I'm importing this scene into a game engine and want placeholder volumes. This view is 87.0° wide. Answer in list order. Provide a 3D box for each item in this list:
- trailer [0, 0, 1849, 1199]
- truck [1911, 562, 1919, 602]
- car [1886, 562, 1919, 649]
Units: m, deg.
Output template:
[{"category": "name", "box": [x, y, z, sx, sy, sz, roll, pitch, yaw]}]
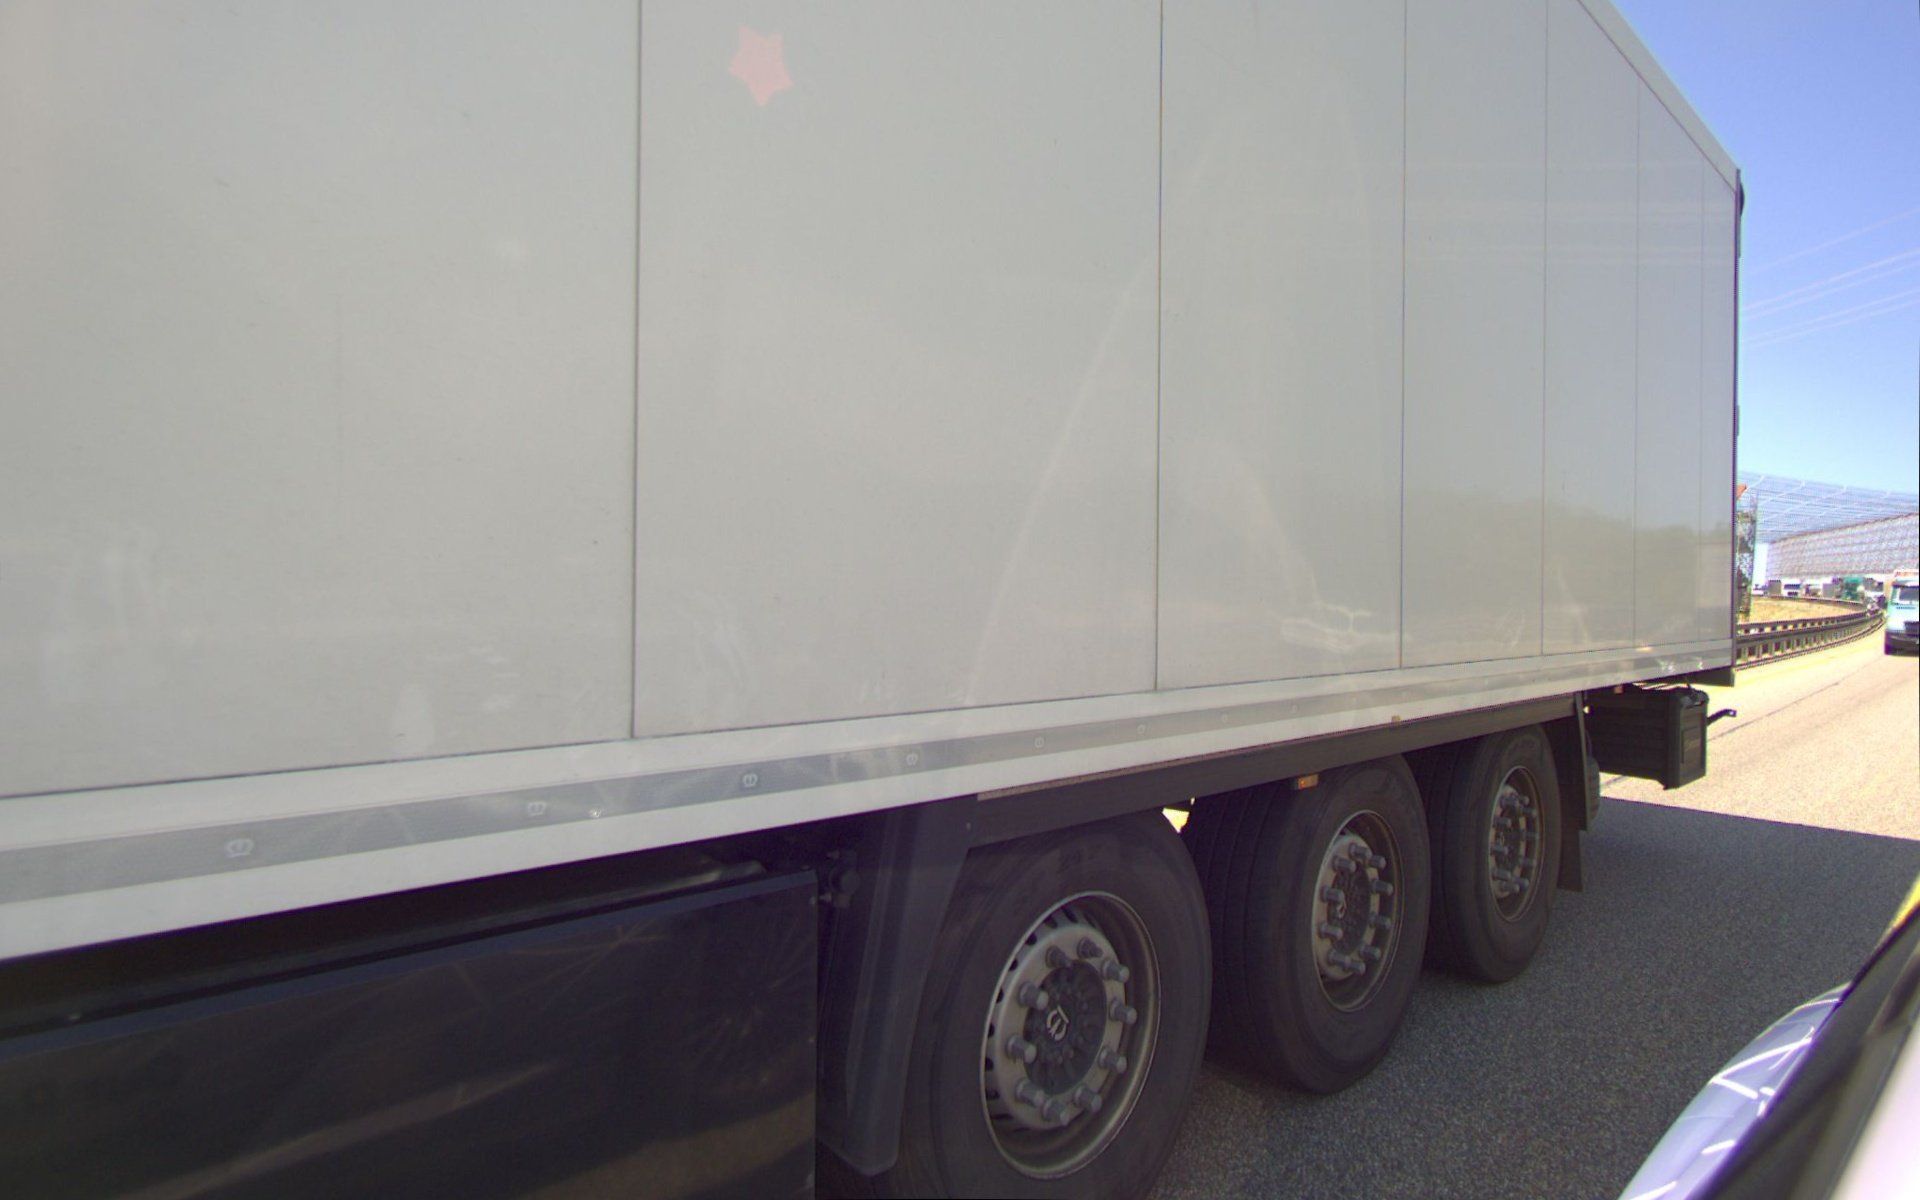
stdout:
[{"category": "trailer", "box": [1.404, -0.655, 4.588, 11.348, 4.179, 2.535, 0, 0, -42]}, {"category": "truck", "box": [87.426, -1.585, 91.174, 2.464, 3.528, 9.712, -1, 0, 44]}, {"category": "car", "box": [28.896, 0.130, 29.403, 6.782, 2.355, 2.215, 0, 1, -42]}]
